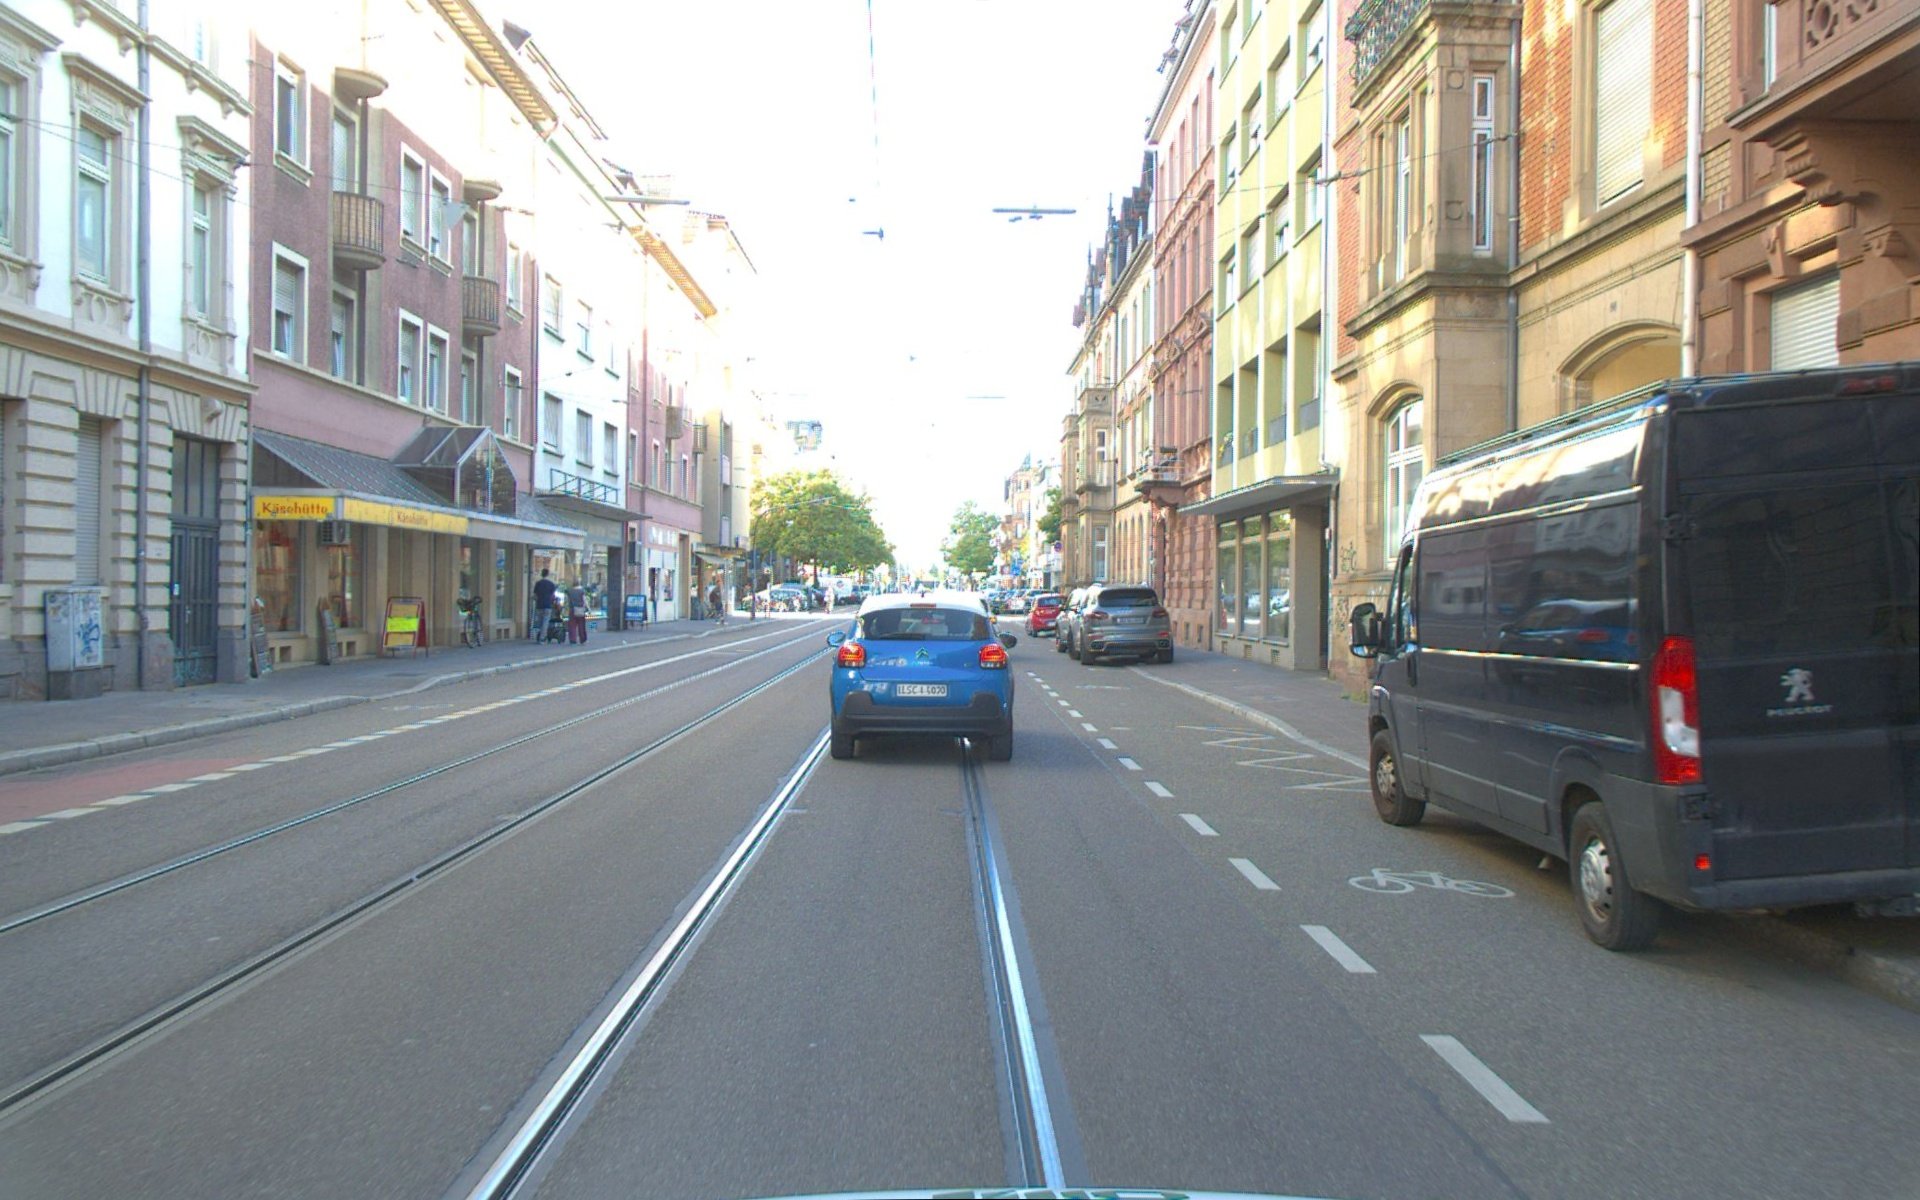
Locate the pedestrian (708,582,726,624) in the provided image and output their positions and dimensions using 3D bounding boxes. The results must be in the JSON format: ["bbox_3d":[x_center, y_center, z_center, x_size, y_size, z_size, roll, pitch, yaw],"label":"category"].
[{"bbox_3d":[-9.752,0.114,66.381,0.671,1.667,0.675,0,0,-2],"label":"pedestrian"}]

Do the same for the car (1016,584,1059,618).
[{"bbox_3d":[3.960,0.034,85.265,1.965,1.701,4.390,0,0,-1],"label":"car"}]

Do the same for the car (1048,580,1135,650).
[{"bbox_3d":[3.468,0.376,44.232,1.867,1.788,3.998,0,0,-2],"label":"car"}]

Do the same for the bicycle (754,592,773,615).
[{"bbox_3d":[-11.936,0.199,100.657,1.099,1.342,3.639,0,0,-6],"label":"bicycle"}]

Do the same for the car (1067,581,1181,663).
[{"bbox_3d":[3.565,0.433,36.714,1.965,1.701,4.805,0,0,-1],"label":"car"}]

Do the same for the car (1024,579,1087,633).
[{"bbox_3d":[3.460,0.196,60.822,1.965,1.701,4.391,-1,3,-1],"label":"car"}]

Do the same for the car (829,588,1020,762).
[{"bbox_3d":[-0.345,0.635,16.298,1.640,1.503,3.999,0,0,-1],"label":"car"}]

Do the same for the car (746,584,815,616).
[{"bbox_3d":[-11.701,0.014,107.752,4.219,2.052,2.210,0,0,1],"label":"car"}]

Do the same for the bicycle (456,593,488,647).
[{"bbox_3d":[-11.049,0.429,37.500,0.610,1.180,2.058,0,0,-14],"label":"bicycle"}]

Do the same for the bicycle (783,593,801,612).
[{"bbox_3d":[-10.262,0.132,100.948,1.099,1.166,3.639,0,0,-6],"label":"bicycle"}]

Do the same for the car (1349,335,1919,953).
[{"bbox_3d":[3.984,0.152,9.509,2.224,2.479,5.721,0,0,1],"label":"car"}]

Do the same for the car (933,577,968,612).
[{"bbox_3d":[-0.580,-0.317,98.214,1.953,2.049,3.998,0,0,-2],"label":"car"}]

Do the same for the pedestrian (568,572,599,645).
[{"bbox_3d":[-9.298,0.201,40.879,0.697,1.795,0.653,0,0,-9],"label":"pedestrian"}]

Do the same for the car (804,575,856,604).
[{"bbox_3d":[-11.739,-0.928,149.629,4.257,2.626,2.190,0,0,-27],"label":"car"}]

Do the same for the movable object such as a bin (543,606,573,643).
[{"bbox_3d":[-10.056,0.609,41.411,0.598,0.930,0.695,0,0,-1],"label":"movable object such as a bin"}]

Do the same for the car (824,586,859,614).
[{"bbox_3d":[-7.174,-0.029,100.603,1.953,1.680,3.998,0,0,-2],"label":"car"}]

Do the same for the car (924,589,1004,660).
[{"bbox_3d":[0.044,0.514,37.263,1.633,1.504,3.998,0,0,-2],"label":"car"}]

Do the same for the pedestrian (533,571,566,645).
[{"bbox_3d":[-10.103,0.190,40.719,0.696,1.795,0.570,0,0,-2],"label":"pedestrian"}]

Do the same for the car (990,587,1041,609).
[{"bbox_3d":[4.228,-0.160,126.286,3.760,1.646,1.790,0,0,-4],"label":"car"}]
